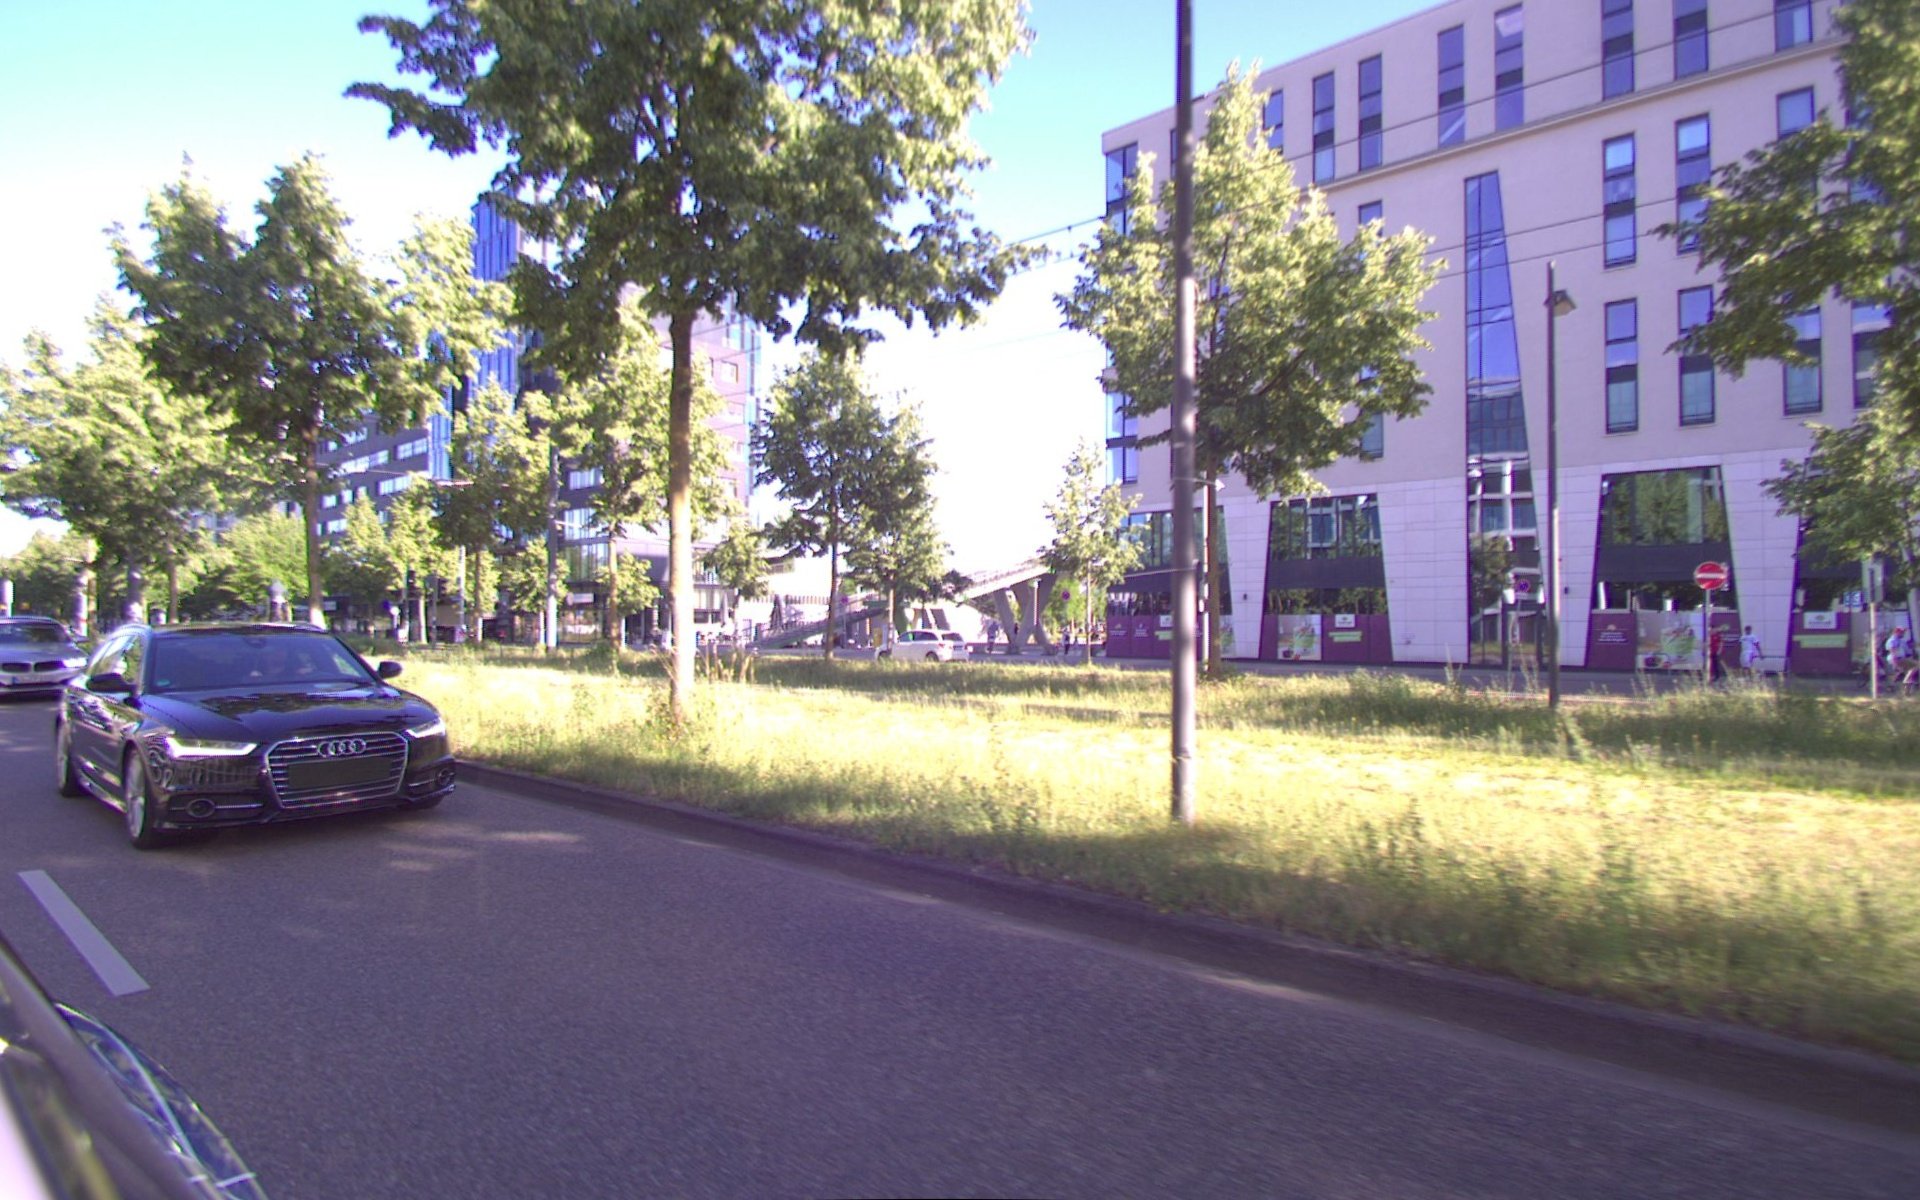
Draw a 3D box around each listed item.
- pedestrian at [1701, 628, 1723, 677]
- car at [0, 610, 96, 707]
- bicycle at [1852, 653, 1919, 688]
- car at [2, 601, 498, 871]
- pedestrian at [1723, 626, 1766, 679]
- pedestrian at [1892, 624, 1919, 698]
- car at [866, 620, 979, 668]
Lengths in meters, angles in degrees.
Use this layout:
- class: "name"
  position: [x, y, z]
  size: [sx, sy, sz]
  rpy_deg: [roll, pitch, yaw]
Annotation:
- class: "pedestrian"
  position: [22.899, 1.585, 30.819]
  size: [0.459, 1.470, 0.595]
  rpy_deg: [-1, 0, 44]
- class: "car"
  position: [-17.465, 1.010, 18.587]
  size: [4.276, 1.590, 1.862]
  rpy_deg: [-1, 0, 42]
- class: "bicycle"
  position: [25.556, 1.896, 27.177]
  size: [0.653, 0.854, 2.340]
  rpy_deg: [-1, 0, -39]
- class: "car"
  position: [-5.808, 0.850, 7.989]
  size: [5.079, 1.492, 1.933]
  rpy_deg: [-3, -3, 39]
- class: "pedestrian"
  position: [23.729, 1.579, 30.615]
  size: [0.964, 1.548, 0.649]
  rpy_deg: [-1, 0, 45]
- class: "pedestrian"
  position: [23.320, 1.464, 24.389]
  size: [1.222, 1.756, 0.834]
  rpy_deg: [-1, 0, 41]
- class: "car"
  position: [-1.603, 1.788, 42.049]
  size: [4.416, 1.822, 2.079]
  rpy_deg: [-1, 0, 39]
